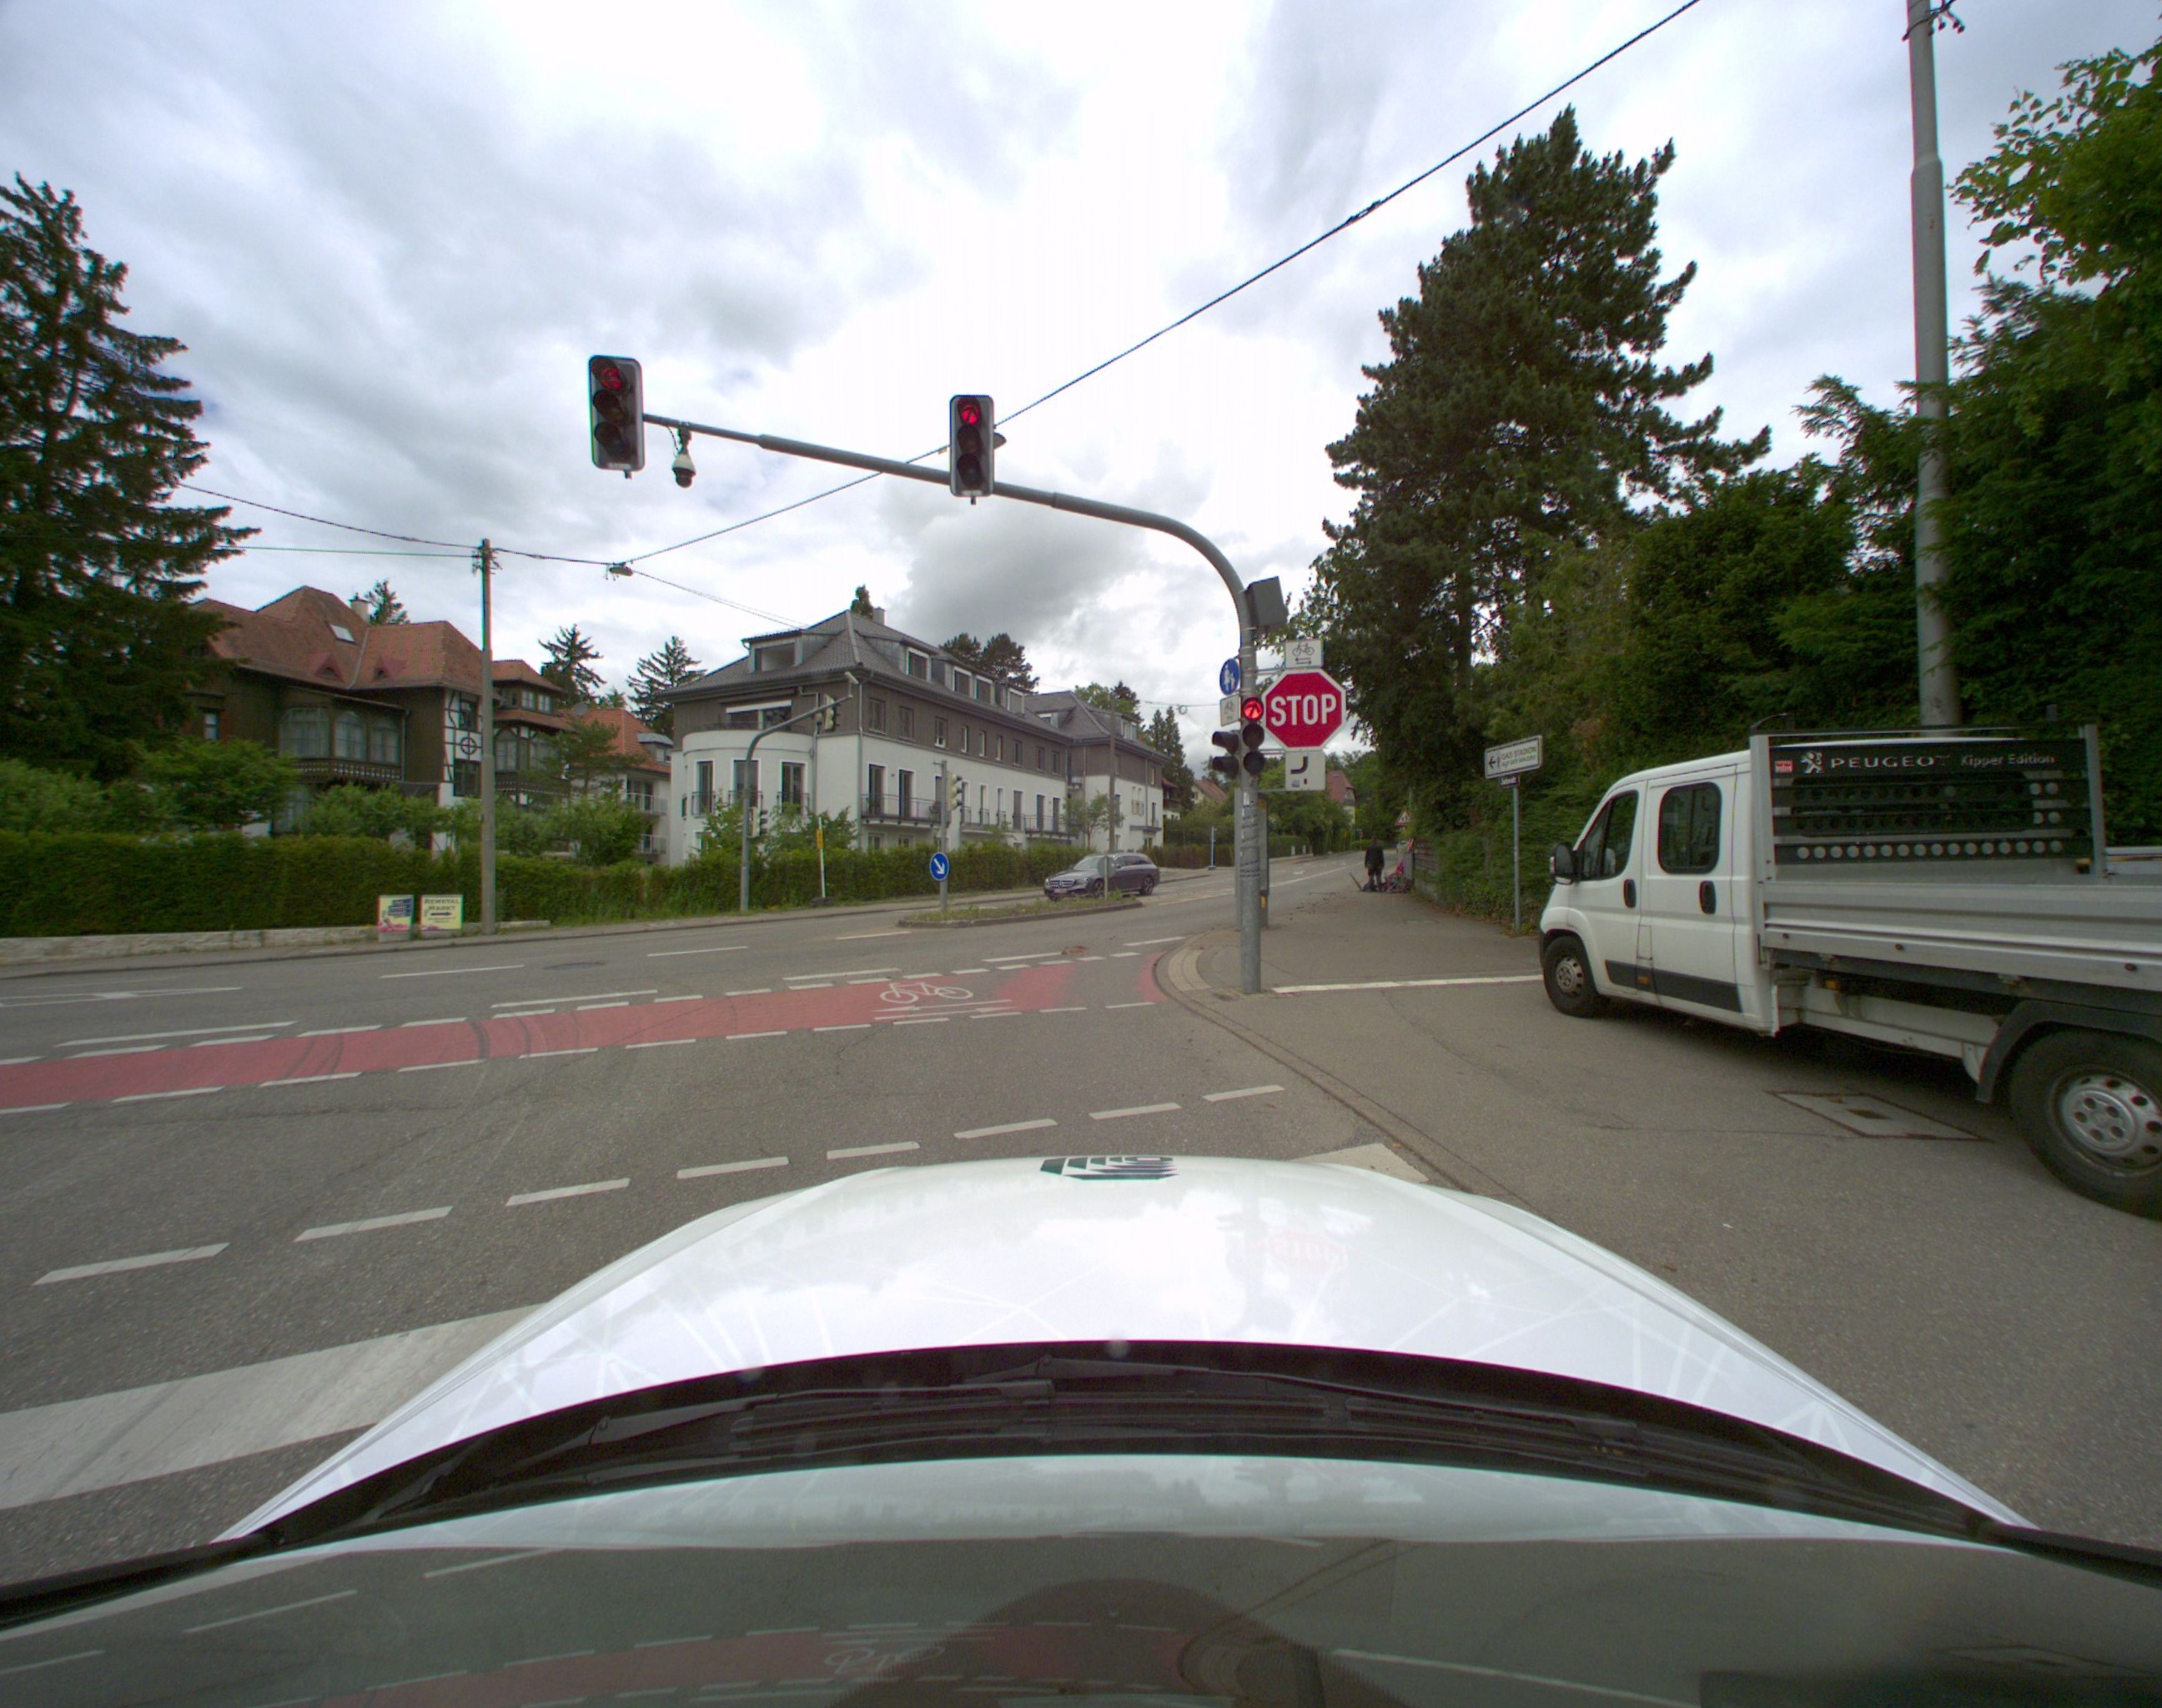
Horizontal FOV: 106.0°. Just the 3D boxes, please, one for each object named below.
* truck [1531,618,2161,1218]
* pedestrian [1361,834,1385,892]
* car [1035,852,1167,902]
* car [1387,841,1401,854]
[{"bbox_3d":[5.269,0.239,4.955,2.198,2.243,5.729,0,0,4],"label":"truck"},{"bbox_3d":[9.785,0.302,27.322,0.594,1.907,0.559,0,-1,2],"label":"pedestrian"},{"bbox_3d":[0.758,0.691,26.774,1.920,1.403,4.773,-1,0,36],"label":"car"},{"bbox_3d":[44.096,-0.943,114.695,1.791,1.753,4.511,-2,0,22],"label":"car"}]
